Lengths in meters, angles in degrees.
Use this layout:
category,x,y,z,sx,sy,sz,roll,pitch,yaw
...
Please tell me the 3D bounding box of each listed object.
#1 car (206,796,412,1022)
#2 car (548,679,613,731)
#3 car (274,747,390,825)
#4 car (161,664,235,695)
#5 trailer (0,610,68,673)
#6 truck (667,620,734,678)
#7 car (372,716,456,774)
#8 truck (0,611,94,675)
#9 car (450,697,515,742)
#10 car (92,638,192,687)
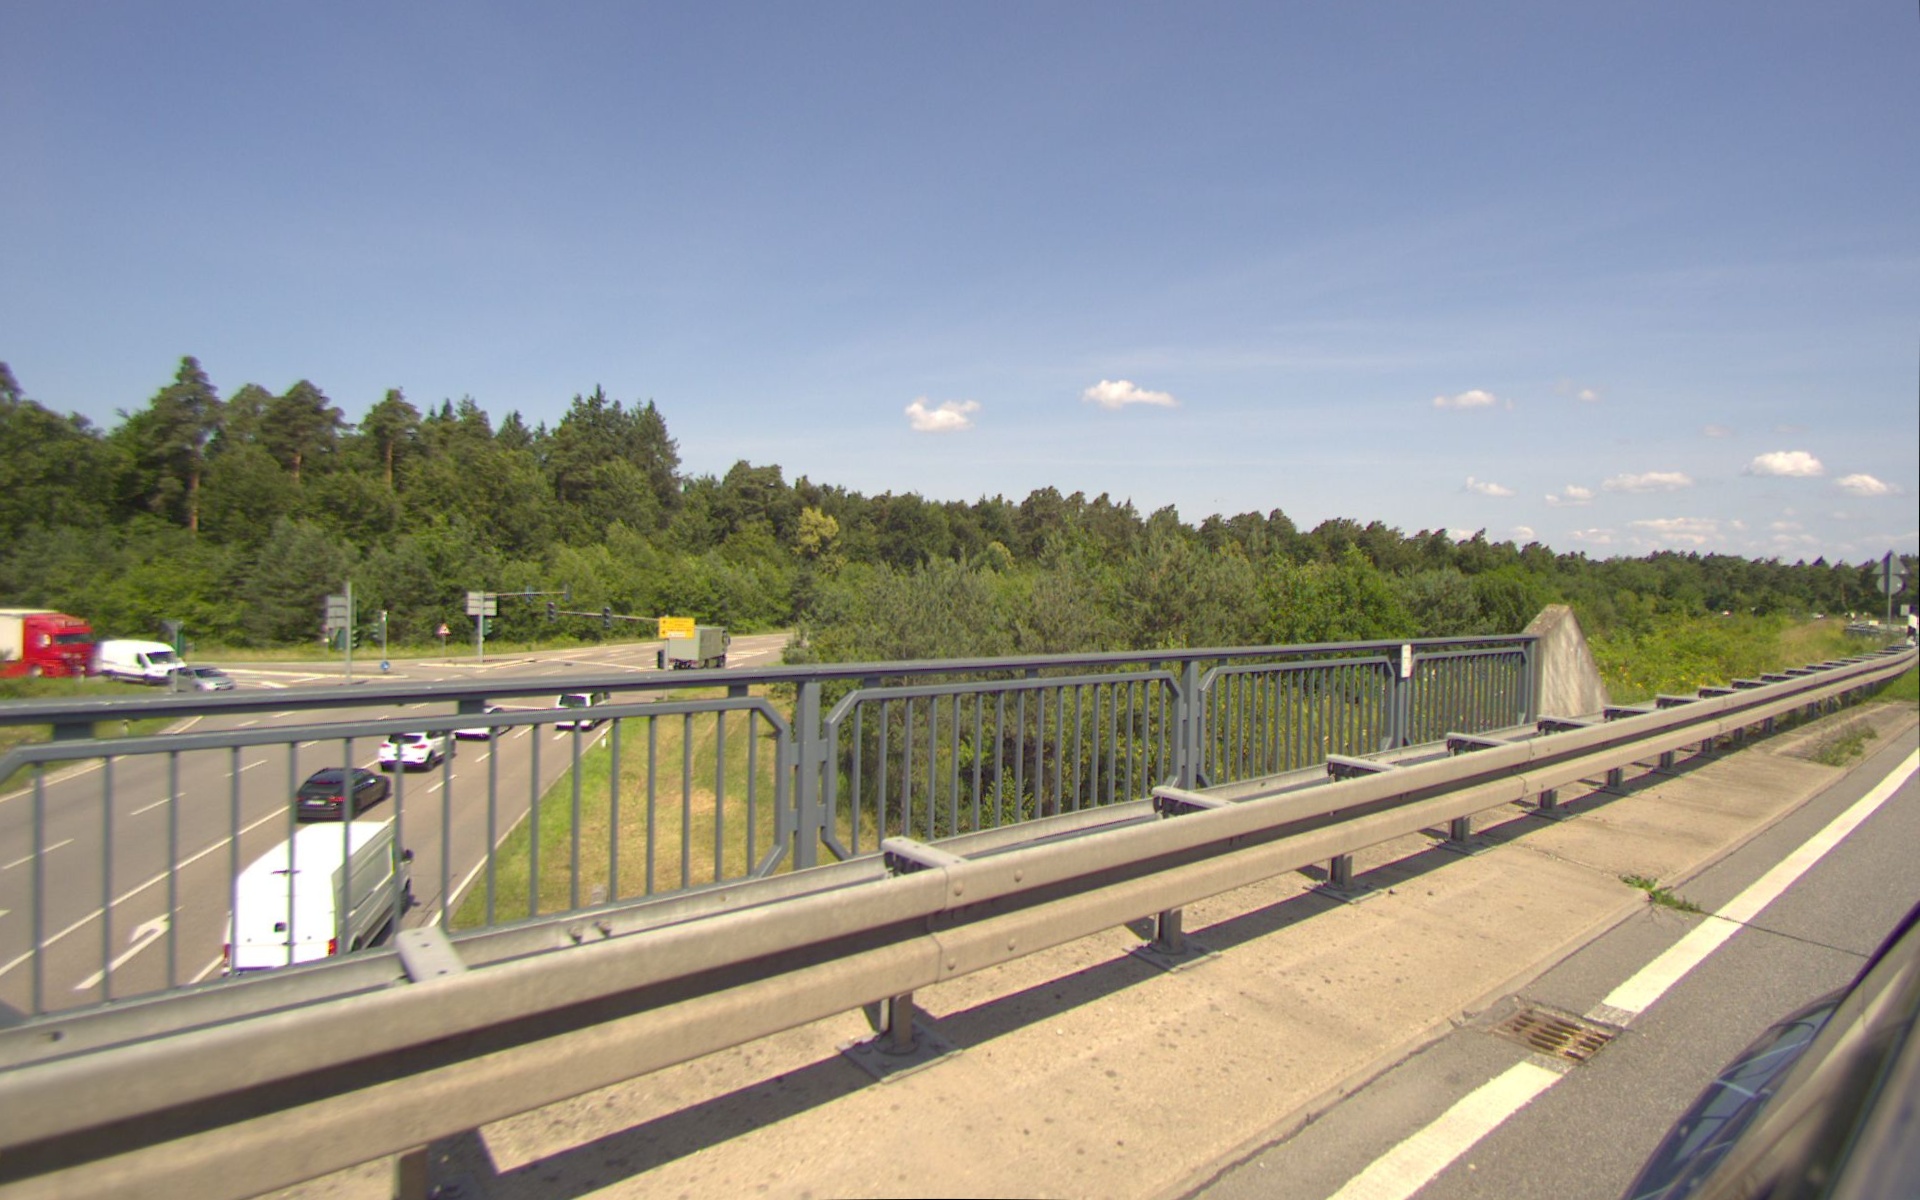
category,x,y,z,sx,sy,sz,roll,pitch,yaw
car,-13.820,6.352,22.008,1.993,2.683,6.369,2,2,-17
car,-20.190,5.552,54.096,1.868,1.989,5.242,4,1,-6
car,-20.979,6.181,34.037,1.721,1.652,4.376,4,1,-10
car,-43.527,4.538,57.822,3.738,1.463,1.751,2,-2,24
trailer,-62.819,2.347,63.452,12.940,3.703,2.255,3,-2,8
truck,-20.596,3.772,80.819,2.251,3.765,9.014,3,2,5
car,-22.475,5.935,41.811,1.721,1.652,4.141,4,1,-10
truck,-56.700,2.631,62.619,4.348,3.703,2.225,3,-2,8
car,-23.330,5.791,49.595,1.666,1.459,4.406,4,1,-10
car,-49.343,3.725,61.038,5.368,2.566,1.988,2,-2,18
